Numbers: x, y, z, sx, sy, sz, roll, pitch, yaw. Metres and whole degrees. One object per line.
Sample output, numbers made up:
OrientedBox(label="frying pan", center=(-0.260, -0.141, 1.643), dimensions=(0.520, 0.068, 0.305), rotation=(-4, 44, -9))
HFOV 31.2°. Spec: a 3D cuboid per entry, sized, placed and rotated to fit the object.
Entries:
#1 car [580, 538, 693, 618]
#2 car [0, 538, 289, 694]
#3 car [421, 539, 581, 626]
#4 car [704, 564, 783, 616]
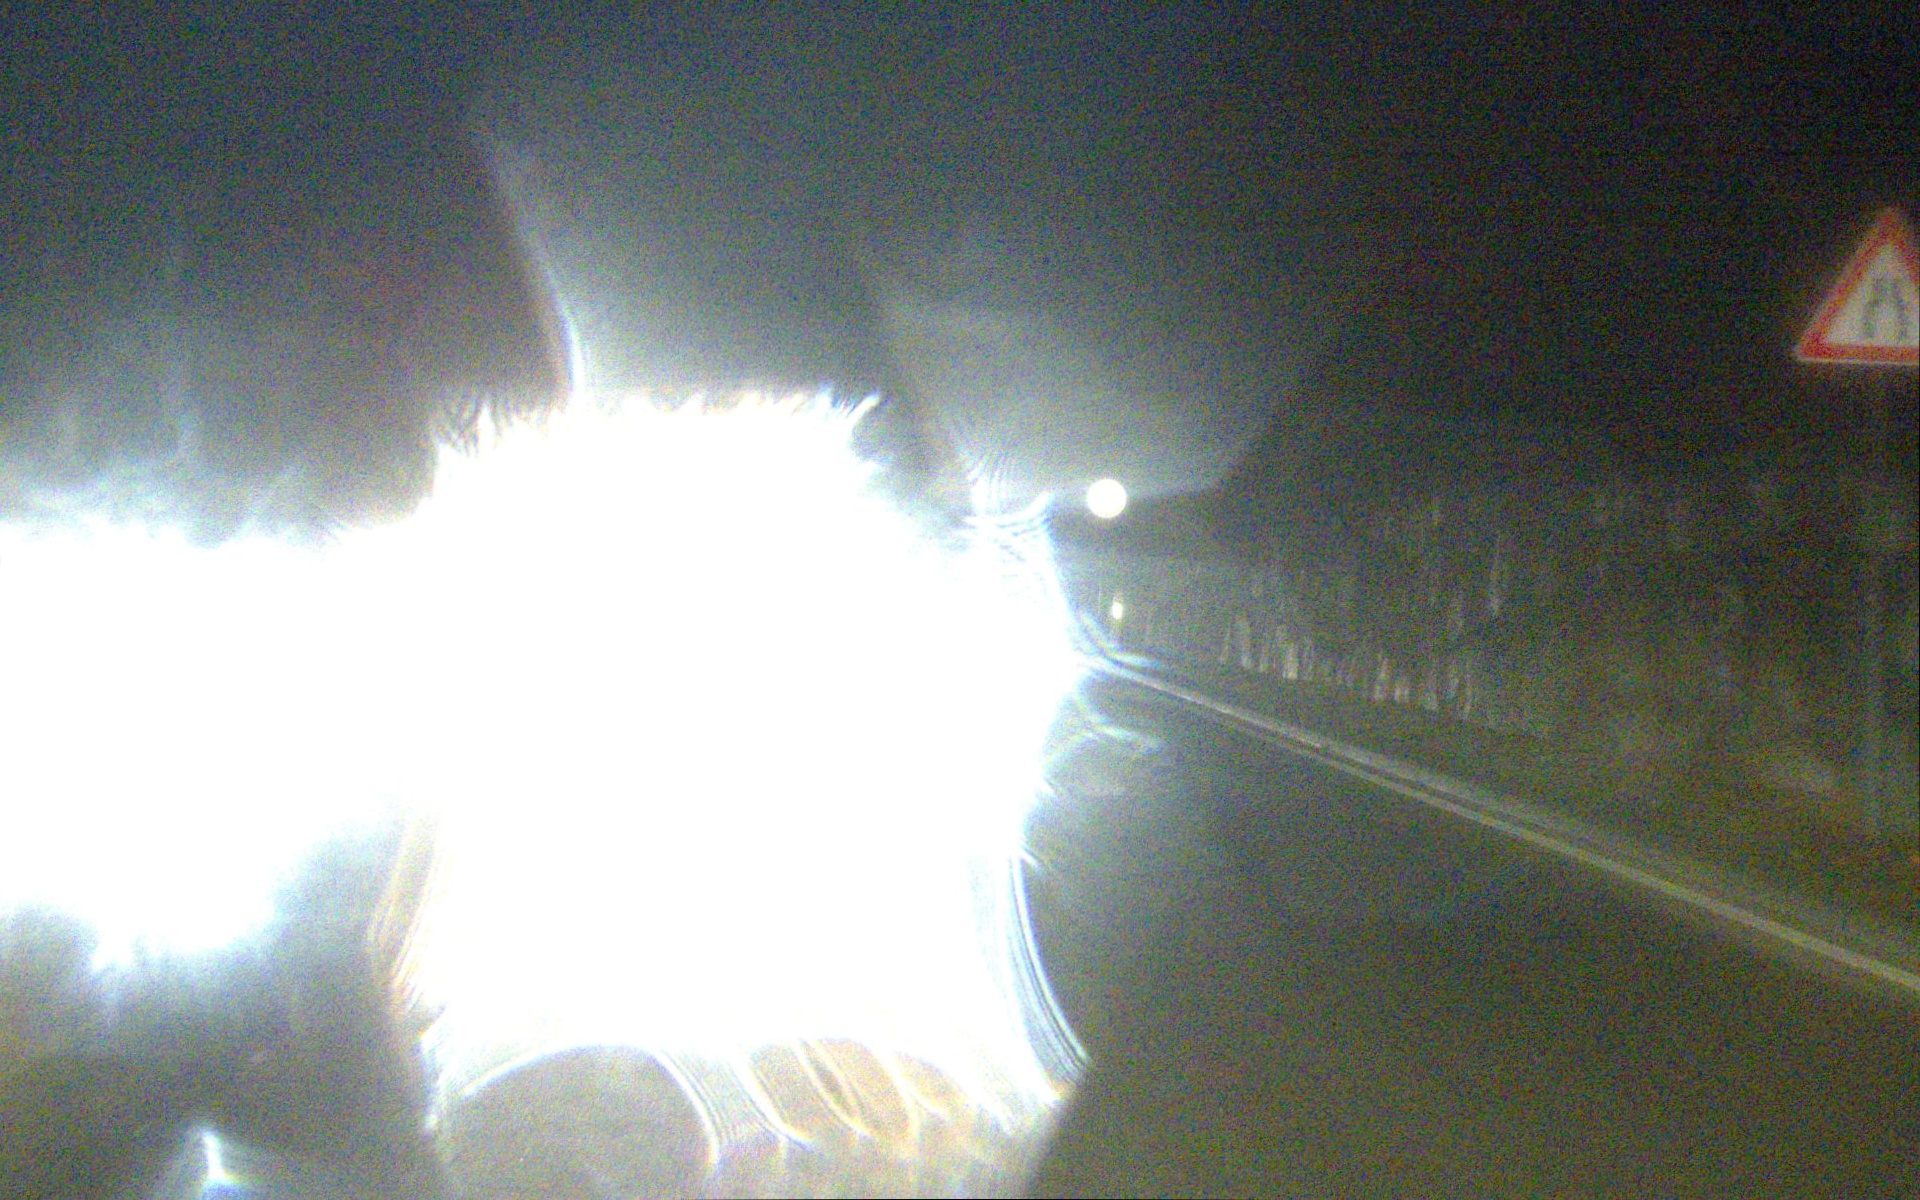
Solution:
OrientedBox(label="car", center=(-7.784, -0.566, 83.156), dimensions=(1.994, 1.858, 5.319), rotation=(0, 1, 3))
OrientedBox(label="car", center=(-8.960, 0.110, 37.142), dimensions=(2.182, 1.553, 5.203), rotation=(0, 1, 3))
OrientedBox(label="car", center=(-8.444, -0.360, 63.713), dimensions=(2.083, 1.537, 4.898), rotation=(0, 1, 3))
OrientedBox(label="car", center=(-6.908, -0.347, 110.064), dimensions=(2.110, 1.570, 4.679), rotation=(1, 1, 2))
